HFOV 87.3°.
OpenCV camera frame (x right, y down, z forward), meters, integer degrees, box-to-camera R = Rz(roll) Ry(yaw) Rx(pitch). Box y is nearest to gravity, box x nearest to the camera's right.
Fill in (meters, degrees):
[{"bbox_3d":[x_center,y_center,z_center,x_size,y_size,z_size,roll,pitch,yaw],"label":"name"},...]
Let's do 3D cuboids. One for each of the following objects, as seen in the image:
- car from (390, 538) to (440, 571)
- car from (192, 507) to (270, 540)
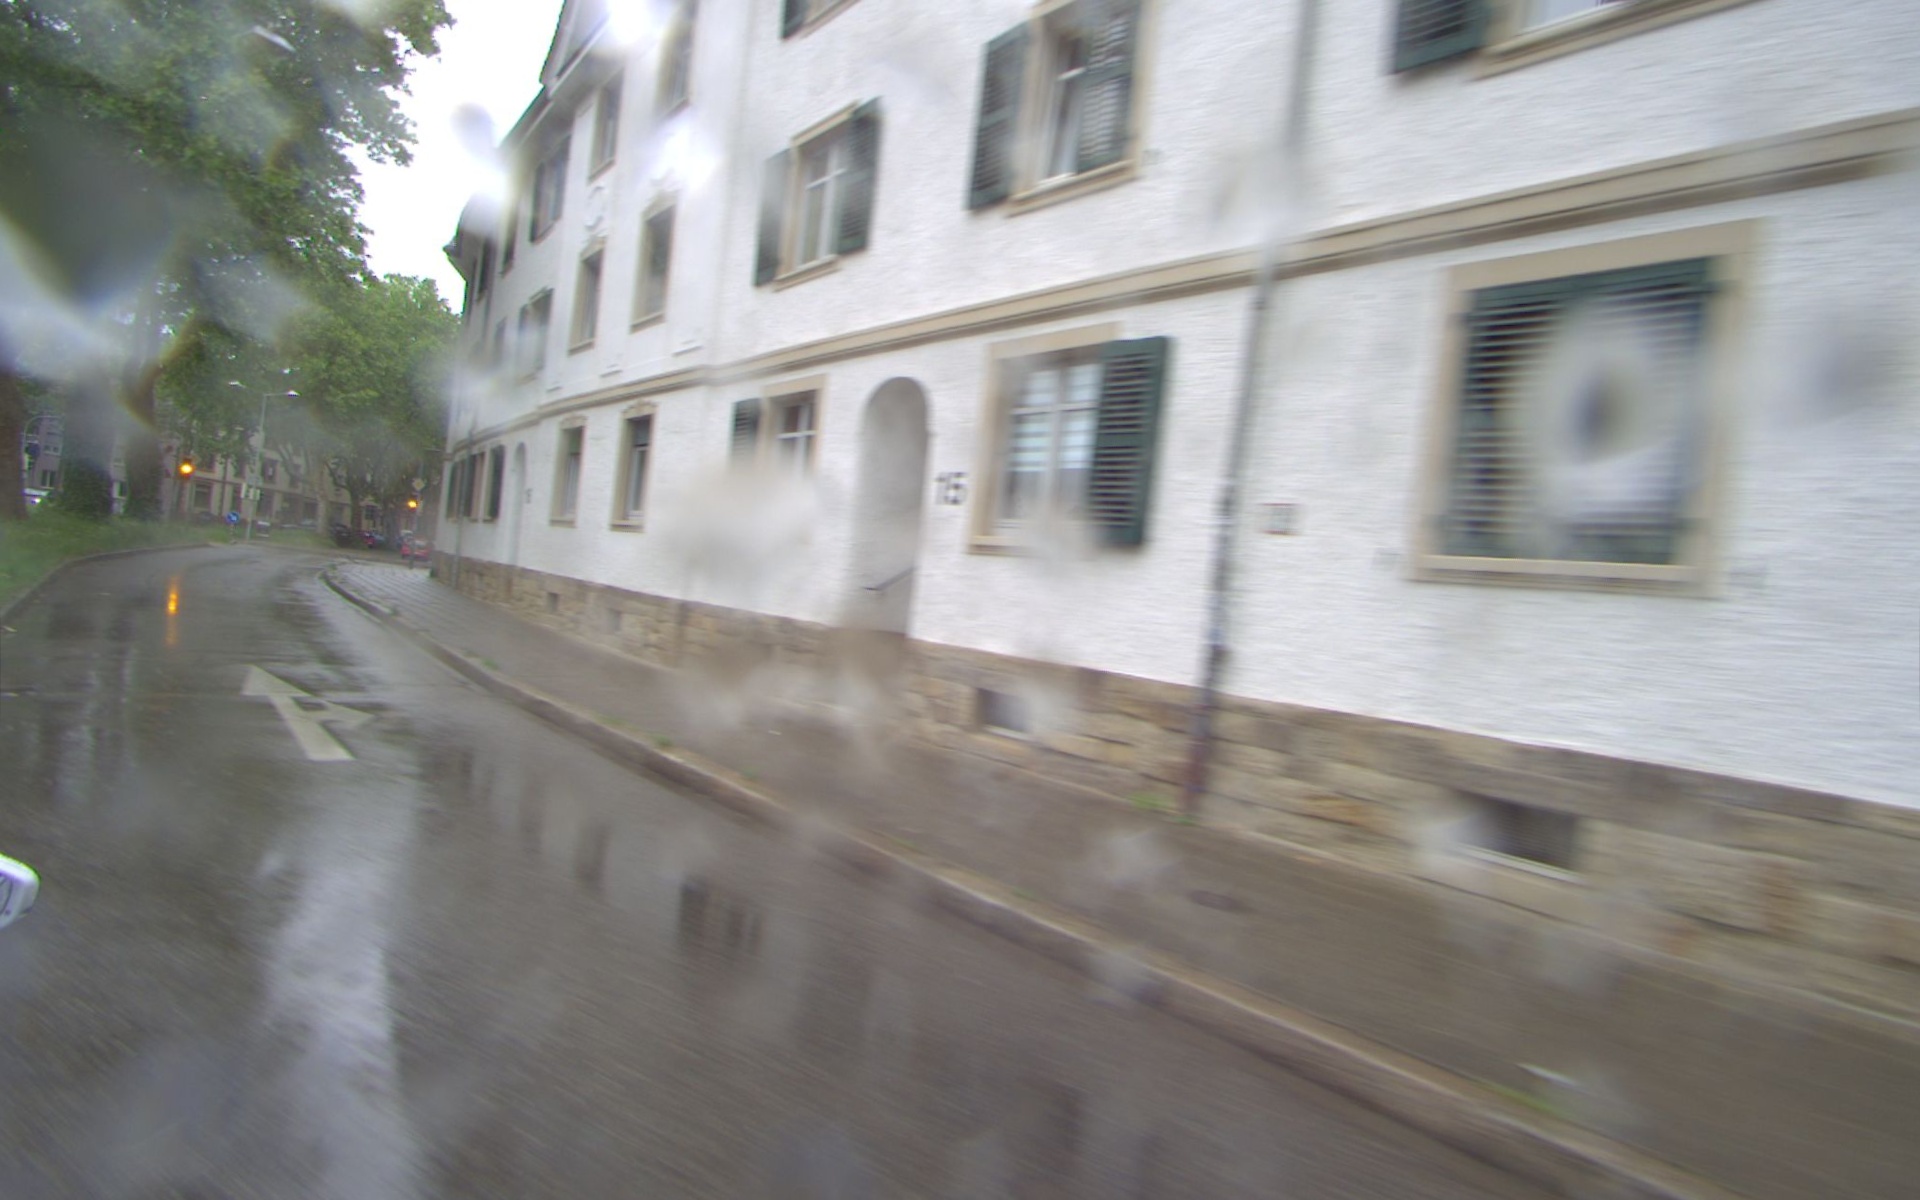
[{"bbox_3d":[-37.196,-3.084,68.751,1.968,2.040,3.986,5,1,-15],"label":"car"},{"bbox_3d":[-43.790,-4.560,60.526,3.442,1.543,1.511,5,1,-23],"label":"car"}]
